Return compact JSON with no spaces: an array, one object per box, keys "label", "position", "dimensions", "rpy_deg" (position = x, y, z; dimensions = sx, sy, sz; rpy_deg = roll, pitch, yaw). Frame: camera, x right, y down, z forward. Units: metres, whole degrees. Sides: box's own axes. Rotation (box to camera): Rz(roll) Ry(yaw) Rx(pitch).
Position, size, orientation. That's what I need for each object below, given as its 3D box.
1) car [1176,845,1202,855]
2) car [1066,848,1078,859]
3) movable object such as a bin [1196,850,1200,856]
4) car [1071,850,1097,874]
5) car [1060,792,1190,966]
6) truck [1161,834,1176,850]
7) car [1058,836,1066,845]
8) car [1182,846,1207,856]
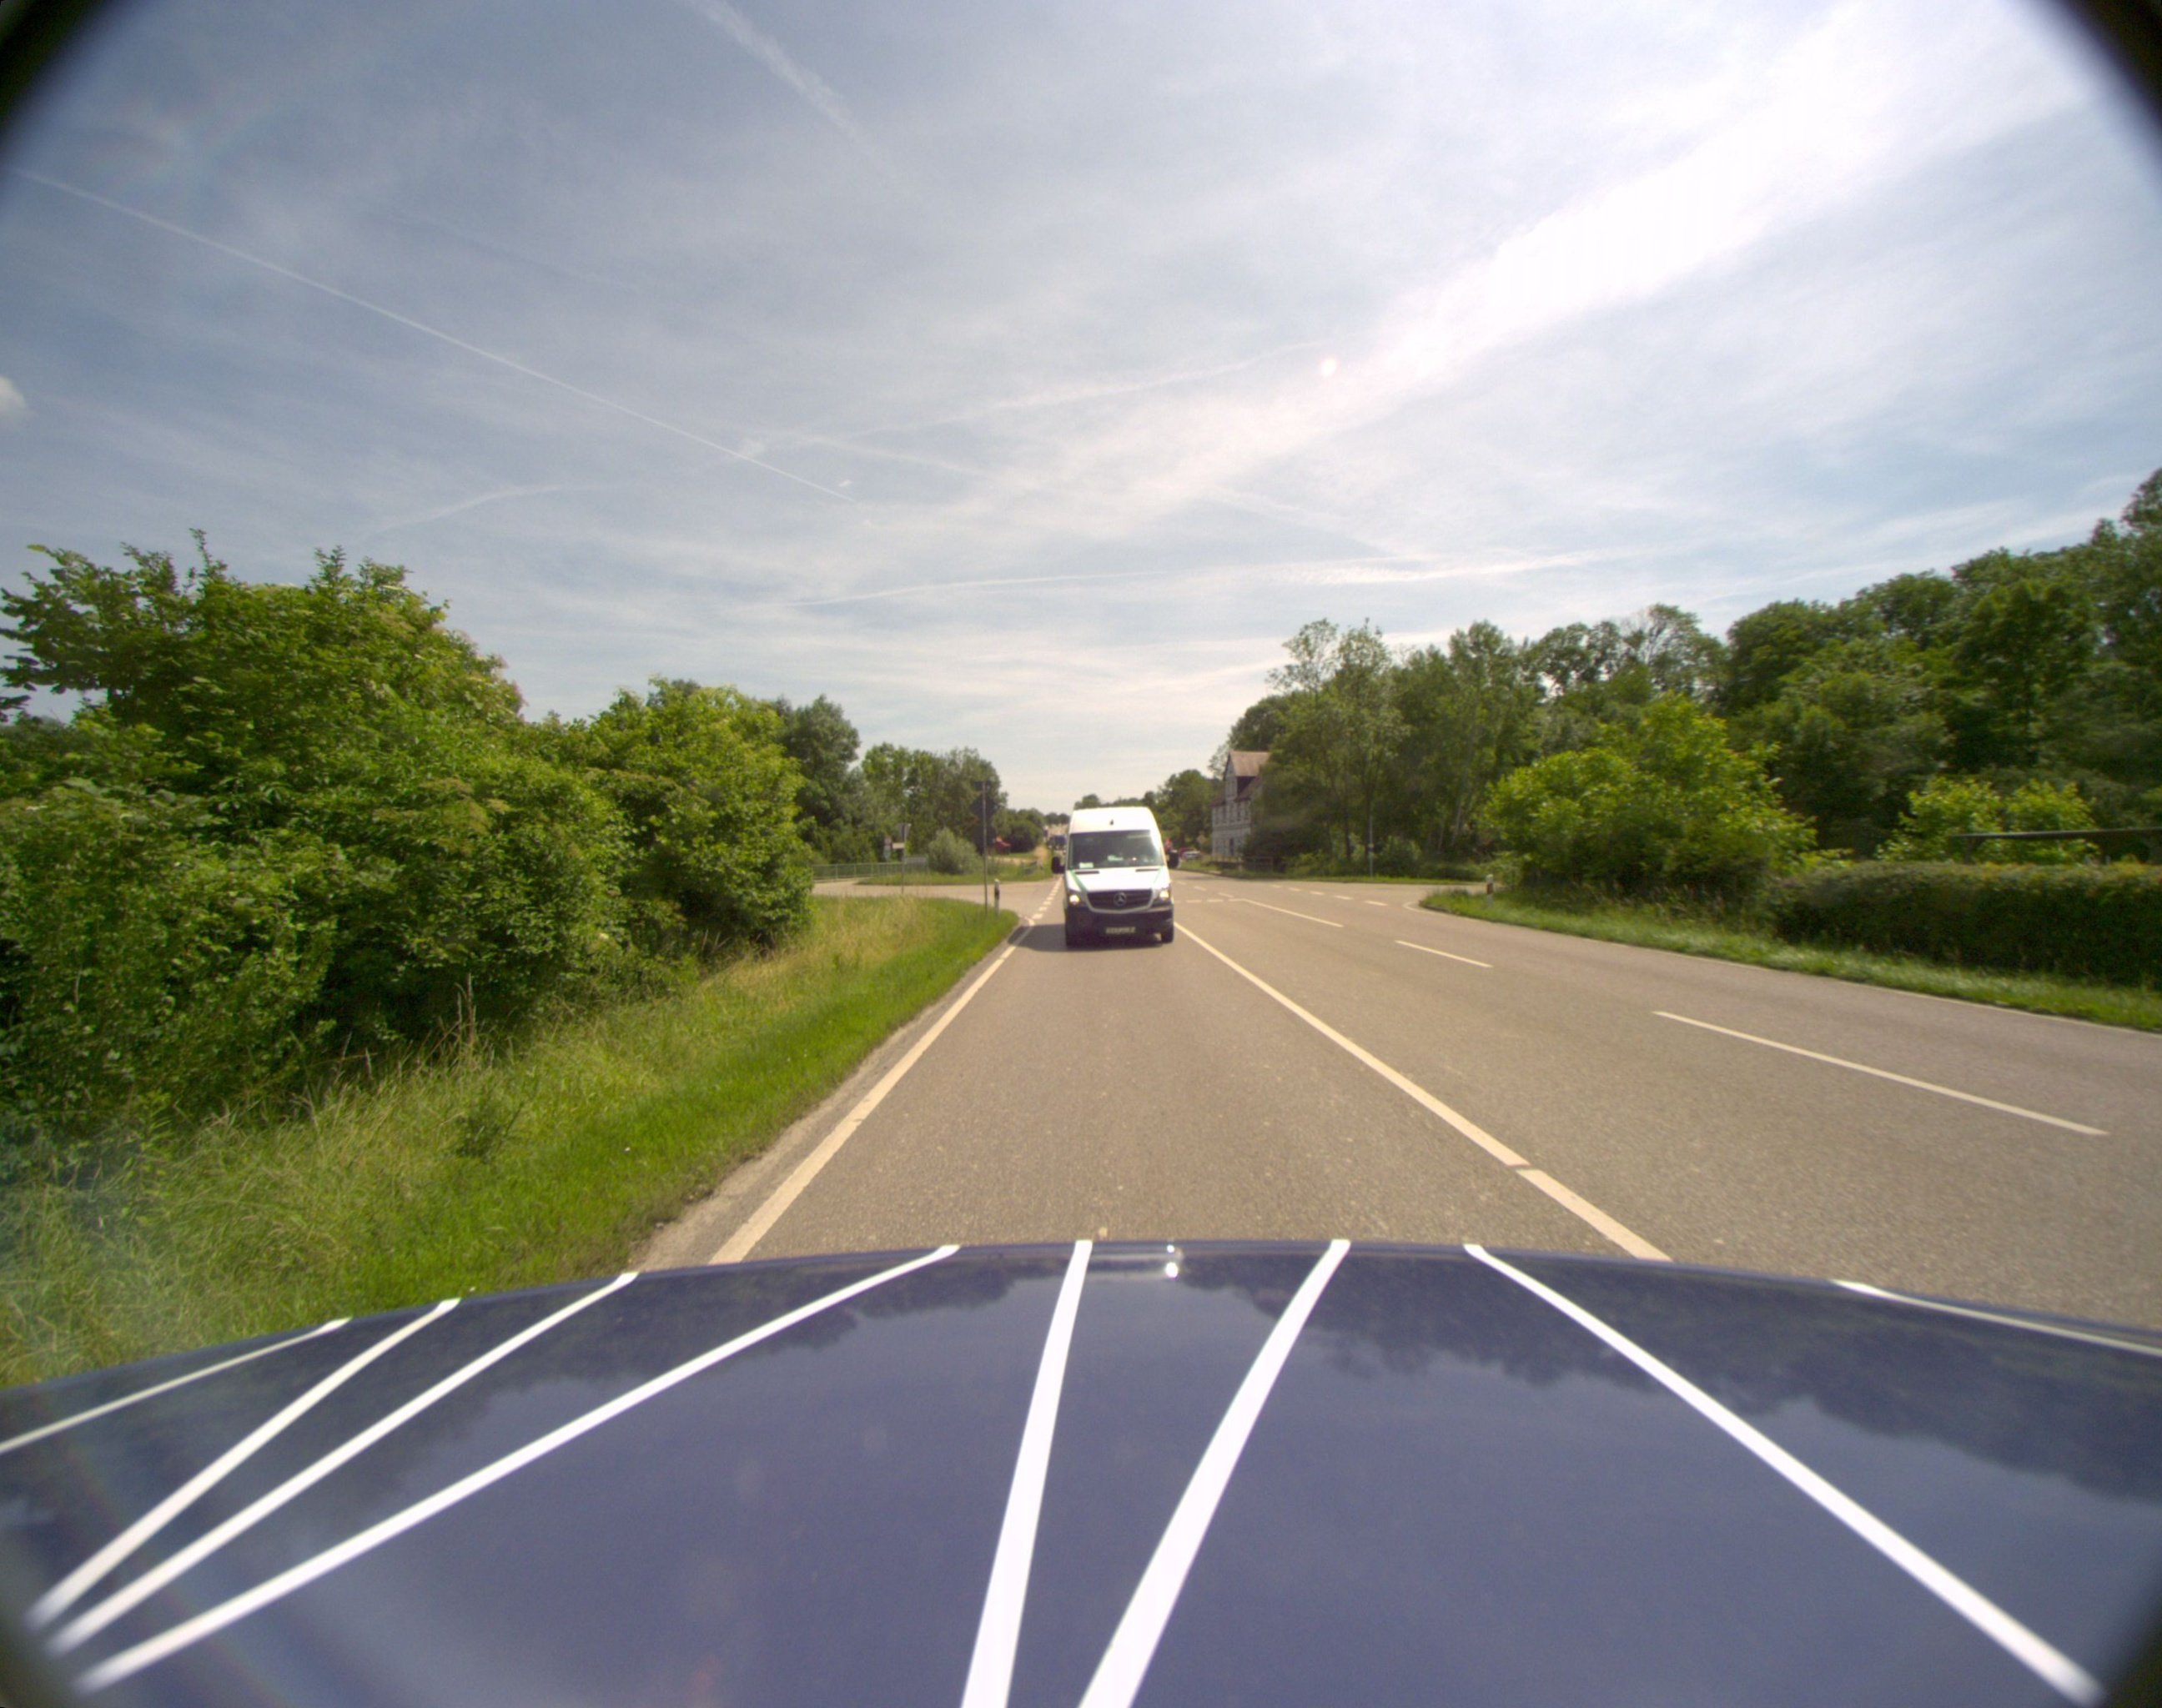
[{"label":"car","position":[17.772,-0.669,124.780],"dimensions":[4.037,1.609,1.832],"rpy_deg":[-2,2,0]},{"label":"car","position":[-1.640,-0.062,132.356],"dimensions":[1.849,1.693,4.239],"rpy_deg":[-1,3,-3]},{"label":"movable object such as a bin","position":[17.259,-0.151,111.967],"dimensions":[0.505,0.966,0.654],"rpy_deg":[-2,3,-9]},{"label":"car","position":[0.197,0.587,56.088],"dimensions":[1.848,1.692,4.242],"rpy_deg":[-1,0,-1]},{"label":"car","position":[0.641,0.398,14.758],"dimensions":[1.961,2.655,5.680],"rpy_deg":[-2,0,-1]},{"label":"truck","position":[16.799,-2.323,145.912],"dimensions":[2.031,2.947,6.771],"rpy_deg":[-2,2,0]},{"label":"car","position":[-4.966,-3.507,197.809],"dimensions":[1.999,2.166,3.999],"rpy_deg":[-2,1,0]},{"label":"car","position":[17.111,-0.440,114.725],"dimensions":[3.387,1.457,1.609],"rpy_deg":[-2,2,-7]}]
